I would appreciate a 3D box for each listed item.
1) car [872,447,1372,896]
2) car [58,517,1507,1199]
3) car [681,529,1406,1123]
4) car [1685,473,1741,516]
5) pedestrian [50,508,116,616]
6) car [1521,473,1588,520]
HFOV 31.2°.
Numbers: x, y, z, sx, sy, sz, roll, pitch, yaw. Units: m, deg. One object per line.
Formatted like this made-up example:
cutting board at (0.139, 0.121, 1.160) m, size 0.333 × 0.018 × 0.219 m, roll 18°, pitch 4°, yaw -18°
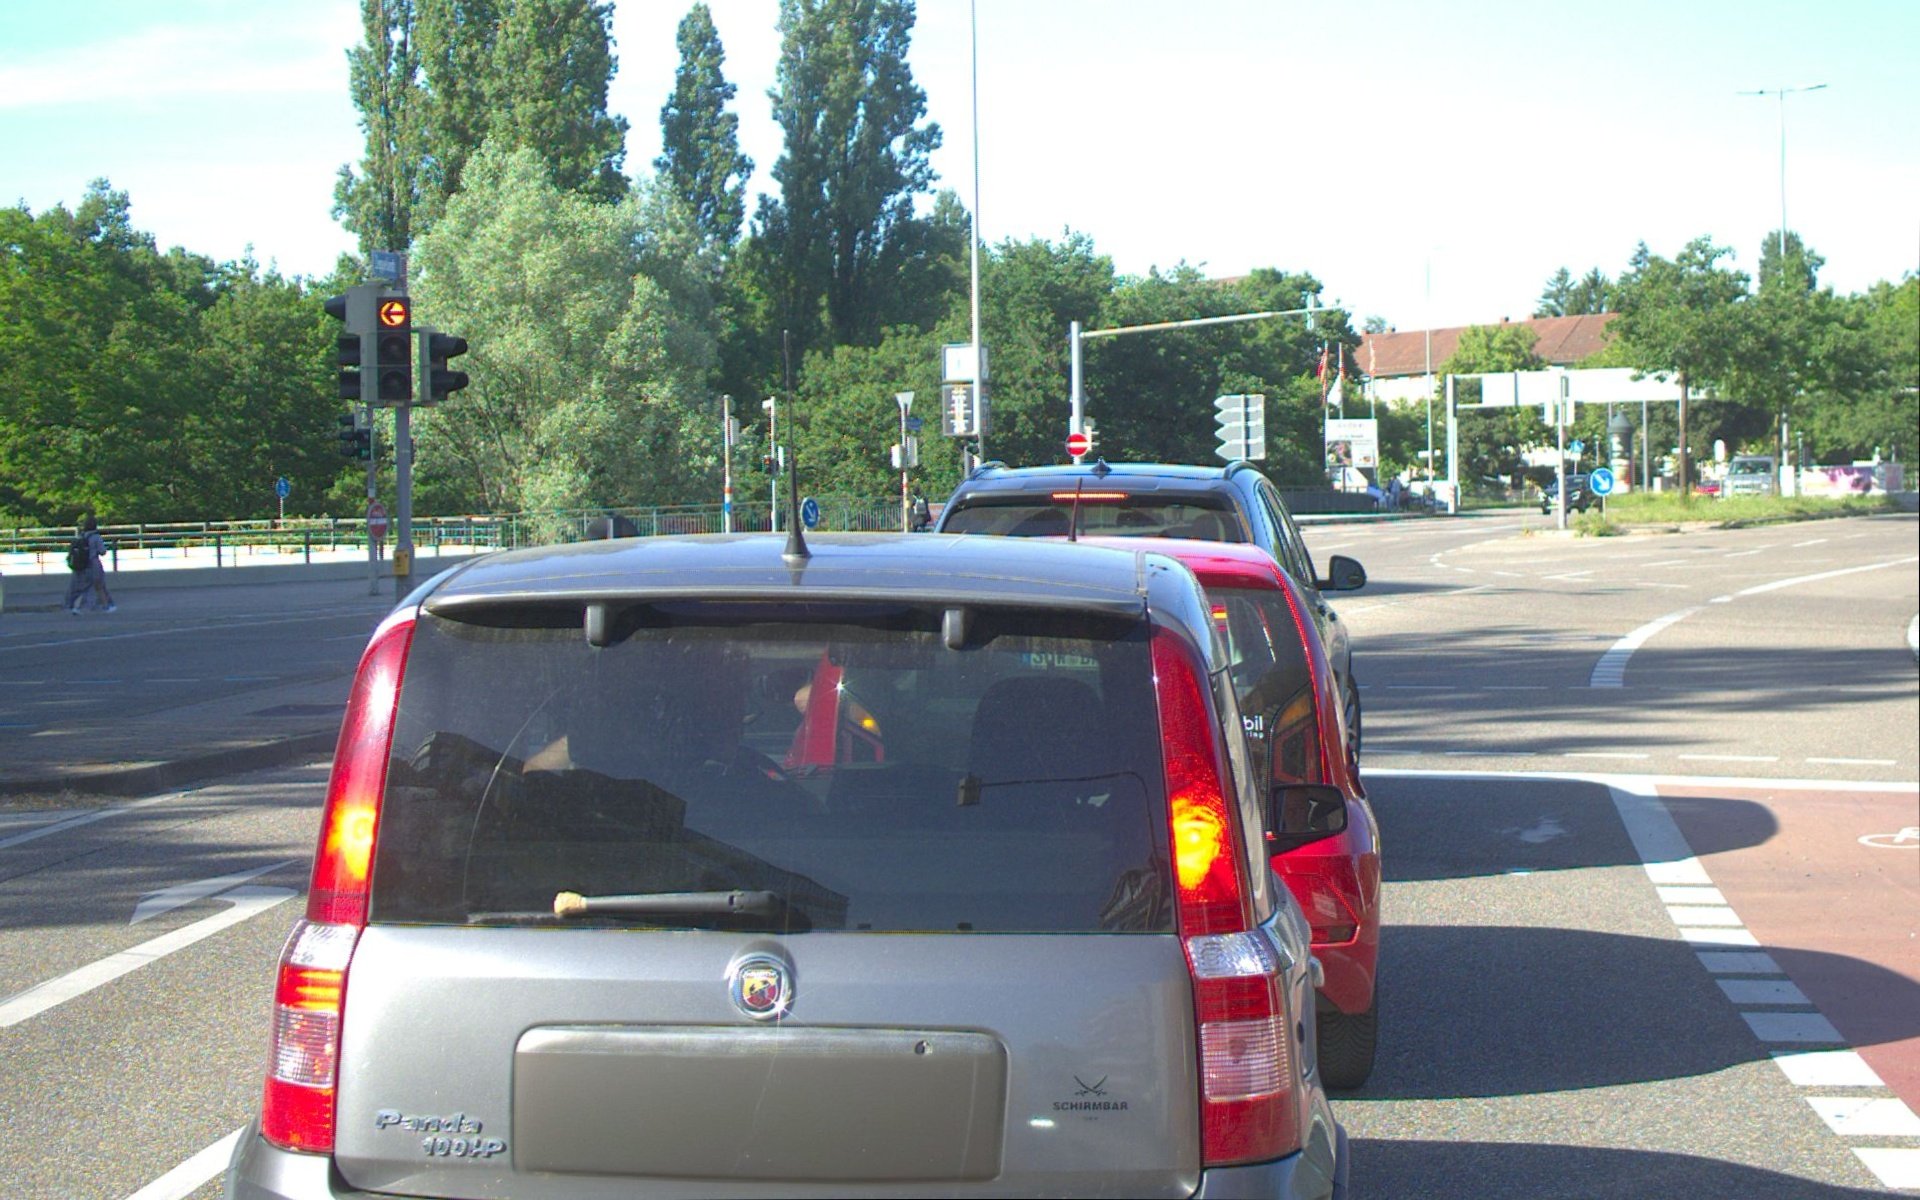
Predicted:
car at (0.905, 0.209, 16.083) m, size 1.869 × 1.784 × 4.413 m, roll 1°, pitch 2°, yaw 9°
car at (-0.136, 0.621, 6.352) m, size 1.820 × 1.484 × 4.000 m, roll 2°, pitch 2°, yaw 3°
car at (0.288, 0.529, 10.708) m, size 1.820 × 1.474 × 4.000 m, roll 1°, pitch 1°, yaw 2°
car at (36.494, -5.093, 166.484) m, size 2.015 × 1.848 × 4.881 m, roll 0°, pitch -1°, yaw 20°
pedestrian at (-13.383, -0.569, 52.463) m, size 0.686 × 1.533 × 1.366 m, roll 0°, pitch -4°, yaw -3°
car at (26.175, -4.531, 151.322) m, size 2.015 × 1.848 × 4.426 m, roll 0°, pitch -1°, yaw 22°
